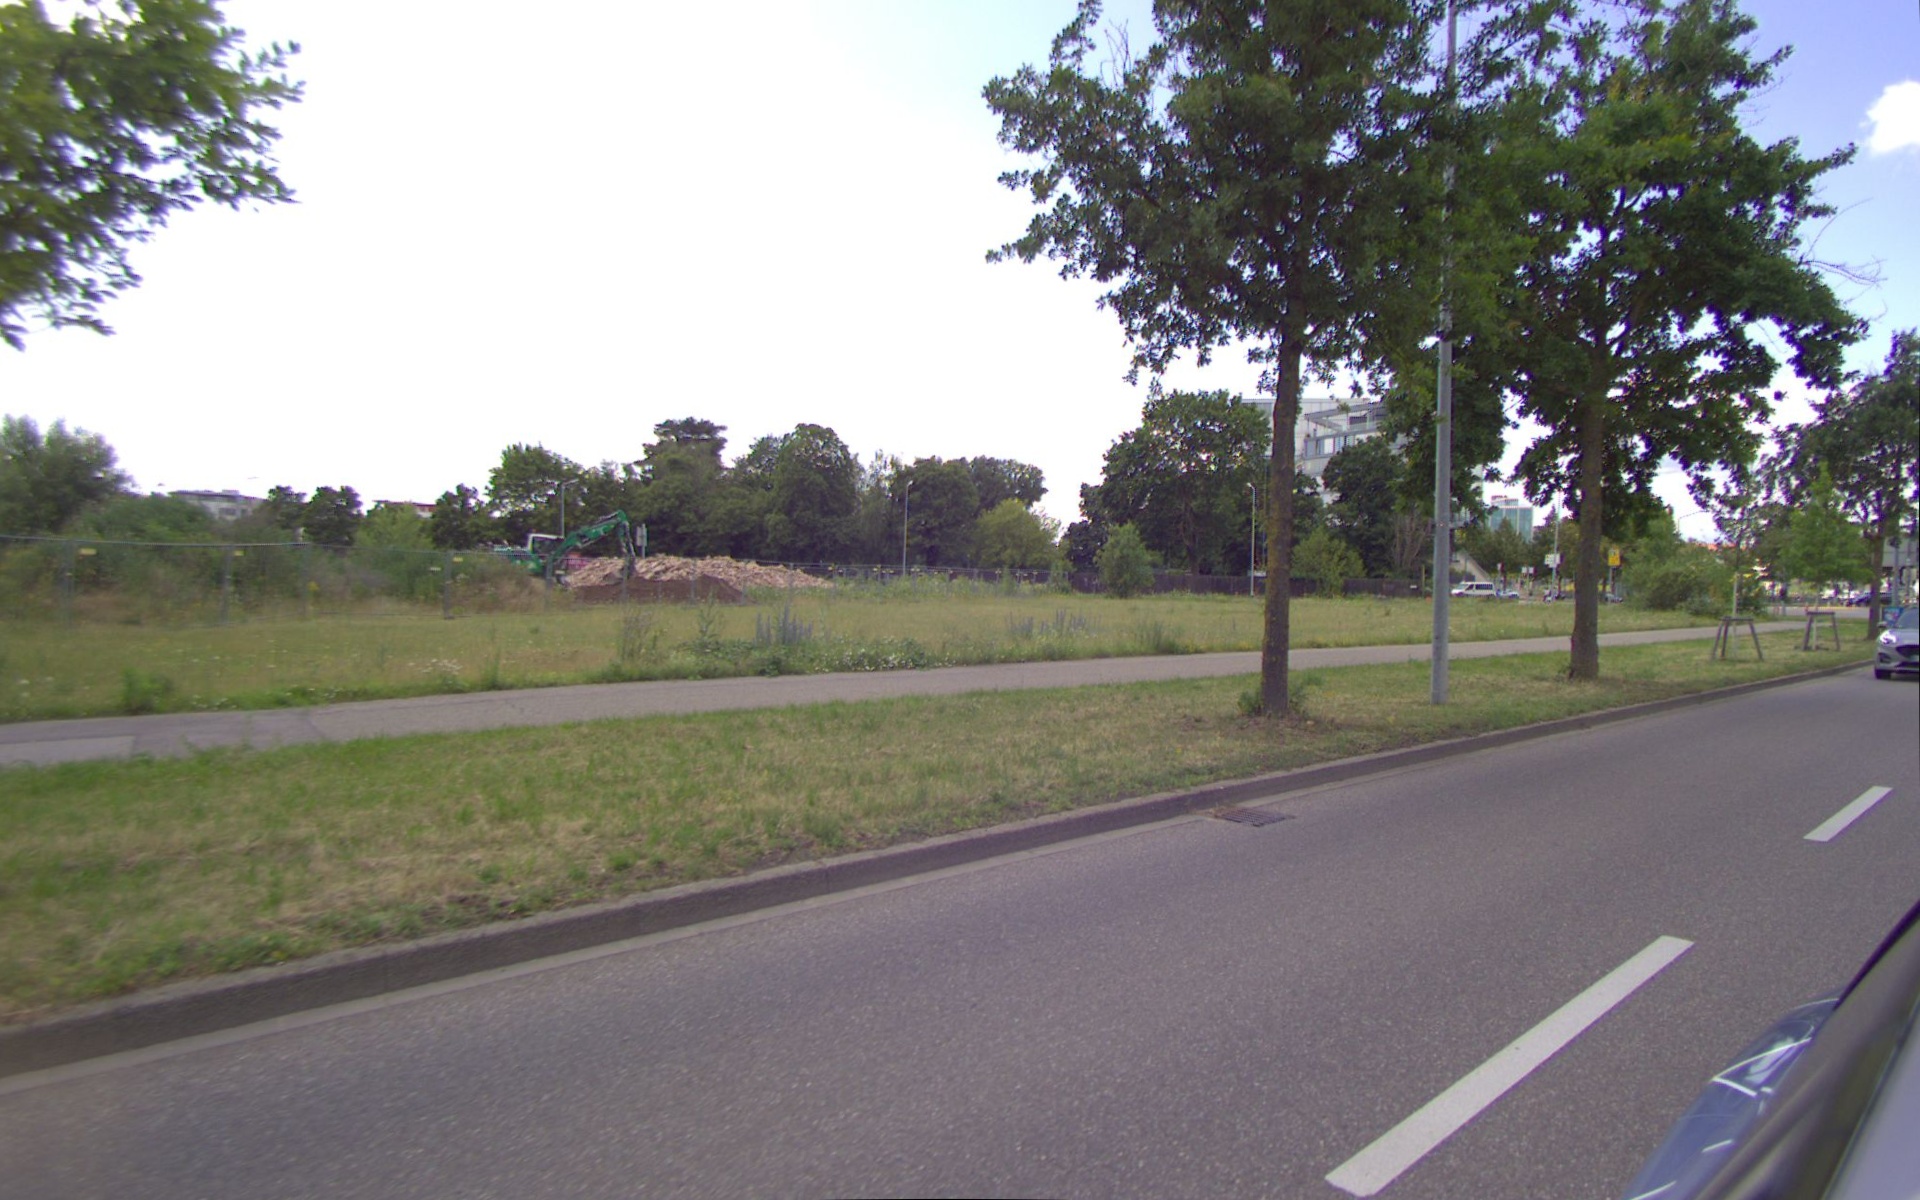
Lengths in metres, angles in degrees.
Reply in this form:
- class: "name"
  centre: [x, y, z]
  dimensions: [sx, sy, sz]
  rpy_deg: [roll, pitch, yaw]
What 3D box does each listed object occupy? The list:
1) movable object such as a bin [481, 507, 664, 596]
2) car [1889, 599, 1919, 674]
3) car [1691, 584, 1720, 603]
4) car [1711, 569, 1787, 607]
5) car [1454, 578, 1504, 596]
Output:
- class: "movable object such as a bin"
  centre: [-18.310, -2.260, 48.142]
  dimensions: [7.479, 3.900, 3.047]
  rpy_deg: [-1, 1, 4]
- class: "car"
  centre: [20.888, 0.746, 21.168]
  dimensions: [4.021, 1.489, 1.673]
  rpy_deg: [0, 2, -41]
- class: "car"
  centre: [73.606, -0.639, 99.859]
  dimensions: [1.991, 1.783, 4.233]
  rpy_deg: [2, 2, 40]
- class: "car"
  centre: [64.716, -1.021, 83.174]
  dimensions: [2.253, 2.888, 7.221]
  rpy_deg: [1, 1, 15]
- class: "car"
  centre: [62.664, -1.549, 122.262]
  dimensions: [5.044, 2.175, 2.153]
  rpy_deg: [0, 0, -11]
